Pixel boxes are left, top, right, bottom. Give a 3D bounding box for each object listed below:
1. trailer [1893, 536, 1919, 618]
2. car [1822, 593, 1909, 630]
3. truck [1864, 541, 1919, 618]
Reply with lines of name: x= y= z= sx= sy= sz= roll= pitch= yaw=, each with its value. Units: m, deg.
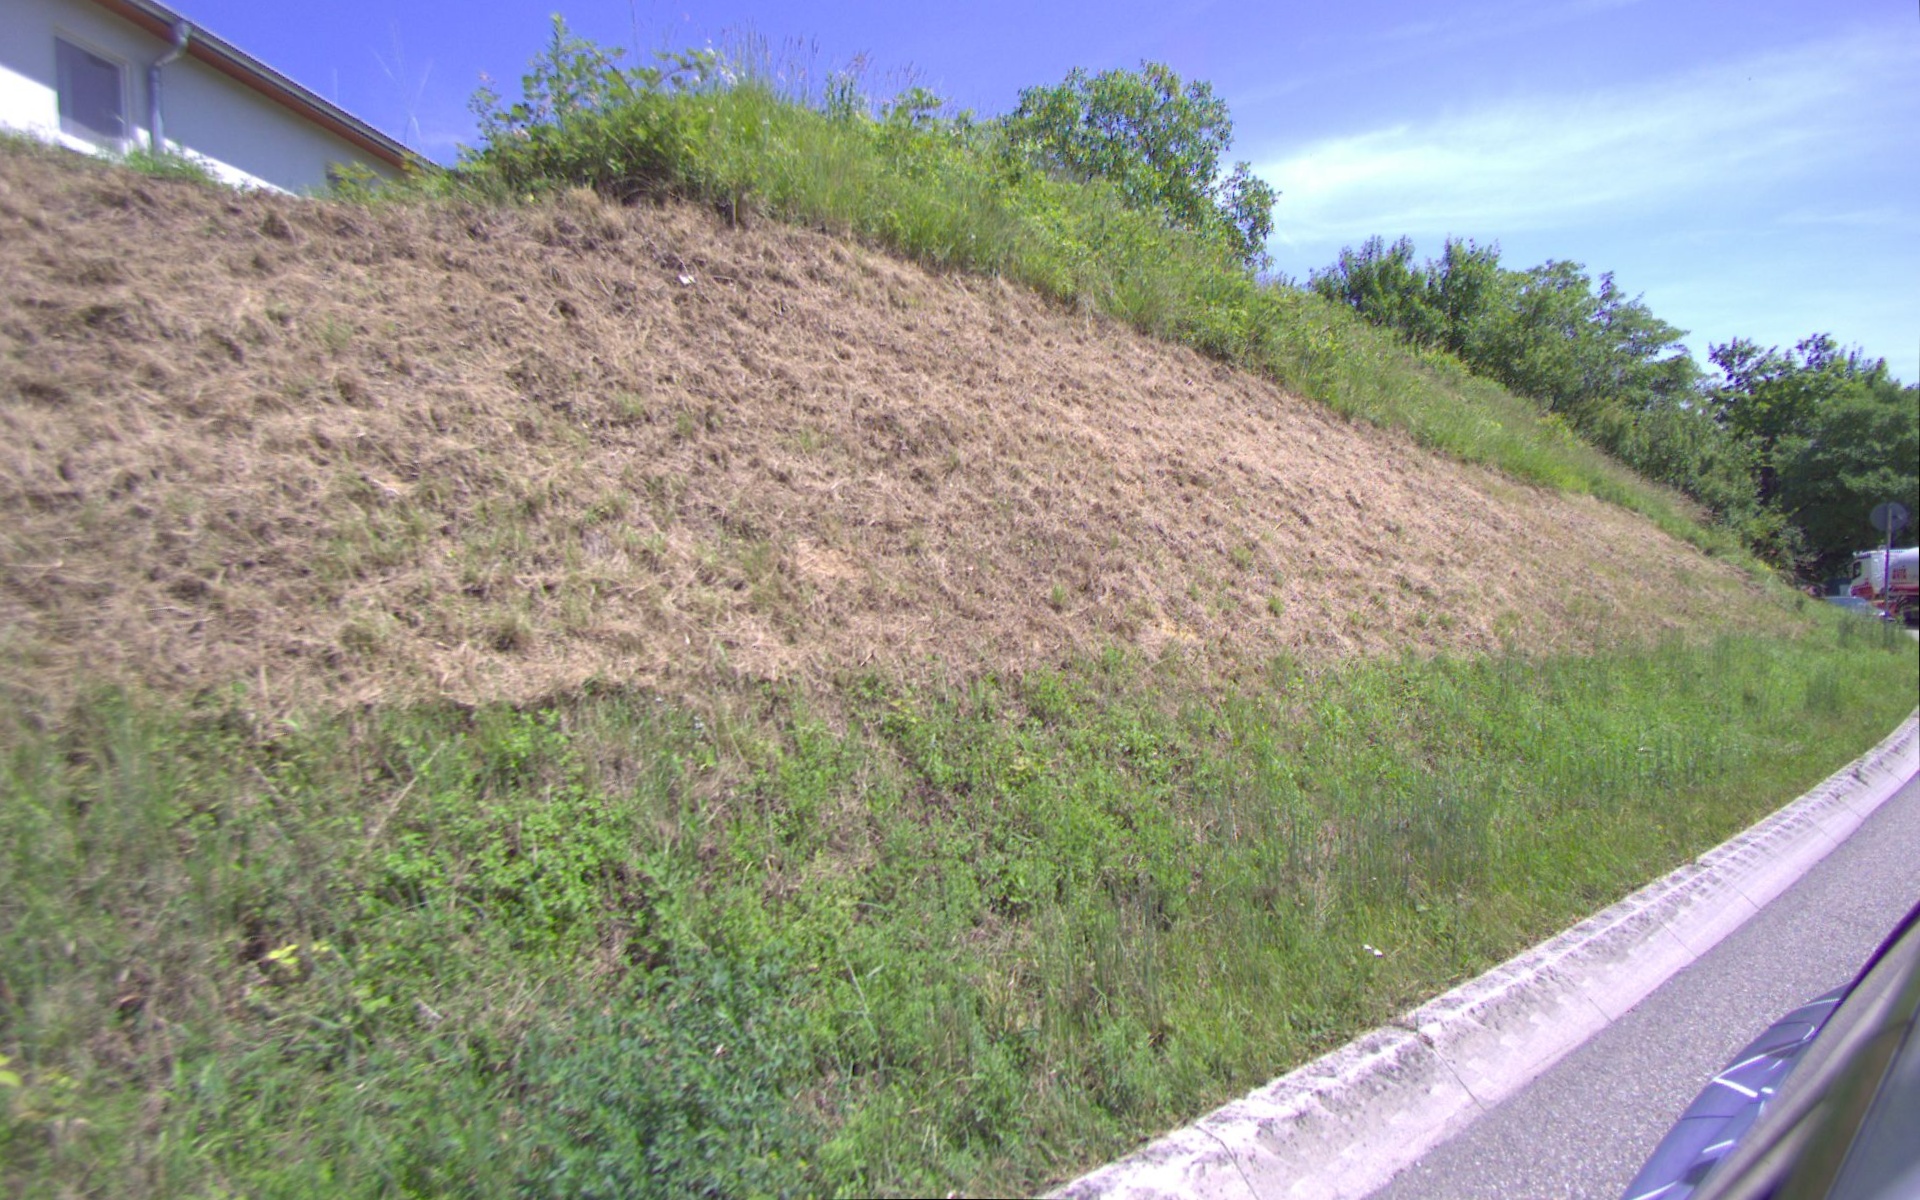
trailer: x=40.285 y=-0.927 z=39.720 sx=2.617 sy=3.415 sz=11.033 roll=0 pitch=1 yaw=28
car: x=35.668 y=0.428 z=39.977 sx=1.741 sy=1.304 sz=4.102 roll=-1 pitch=1 yaw=30
truck: x=42.303 y=-0.887 z=43.862 sx=2.606 sy=3.210 sz=7.011 roll=0 pitch=1 yaw=24
